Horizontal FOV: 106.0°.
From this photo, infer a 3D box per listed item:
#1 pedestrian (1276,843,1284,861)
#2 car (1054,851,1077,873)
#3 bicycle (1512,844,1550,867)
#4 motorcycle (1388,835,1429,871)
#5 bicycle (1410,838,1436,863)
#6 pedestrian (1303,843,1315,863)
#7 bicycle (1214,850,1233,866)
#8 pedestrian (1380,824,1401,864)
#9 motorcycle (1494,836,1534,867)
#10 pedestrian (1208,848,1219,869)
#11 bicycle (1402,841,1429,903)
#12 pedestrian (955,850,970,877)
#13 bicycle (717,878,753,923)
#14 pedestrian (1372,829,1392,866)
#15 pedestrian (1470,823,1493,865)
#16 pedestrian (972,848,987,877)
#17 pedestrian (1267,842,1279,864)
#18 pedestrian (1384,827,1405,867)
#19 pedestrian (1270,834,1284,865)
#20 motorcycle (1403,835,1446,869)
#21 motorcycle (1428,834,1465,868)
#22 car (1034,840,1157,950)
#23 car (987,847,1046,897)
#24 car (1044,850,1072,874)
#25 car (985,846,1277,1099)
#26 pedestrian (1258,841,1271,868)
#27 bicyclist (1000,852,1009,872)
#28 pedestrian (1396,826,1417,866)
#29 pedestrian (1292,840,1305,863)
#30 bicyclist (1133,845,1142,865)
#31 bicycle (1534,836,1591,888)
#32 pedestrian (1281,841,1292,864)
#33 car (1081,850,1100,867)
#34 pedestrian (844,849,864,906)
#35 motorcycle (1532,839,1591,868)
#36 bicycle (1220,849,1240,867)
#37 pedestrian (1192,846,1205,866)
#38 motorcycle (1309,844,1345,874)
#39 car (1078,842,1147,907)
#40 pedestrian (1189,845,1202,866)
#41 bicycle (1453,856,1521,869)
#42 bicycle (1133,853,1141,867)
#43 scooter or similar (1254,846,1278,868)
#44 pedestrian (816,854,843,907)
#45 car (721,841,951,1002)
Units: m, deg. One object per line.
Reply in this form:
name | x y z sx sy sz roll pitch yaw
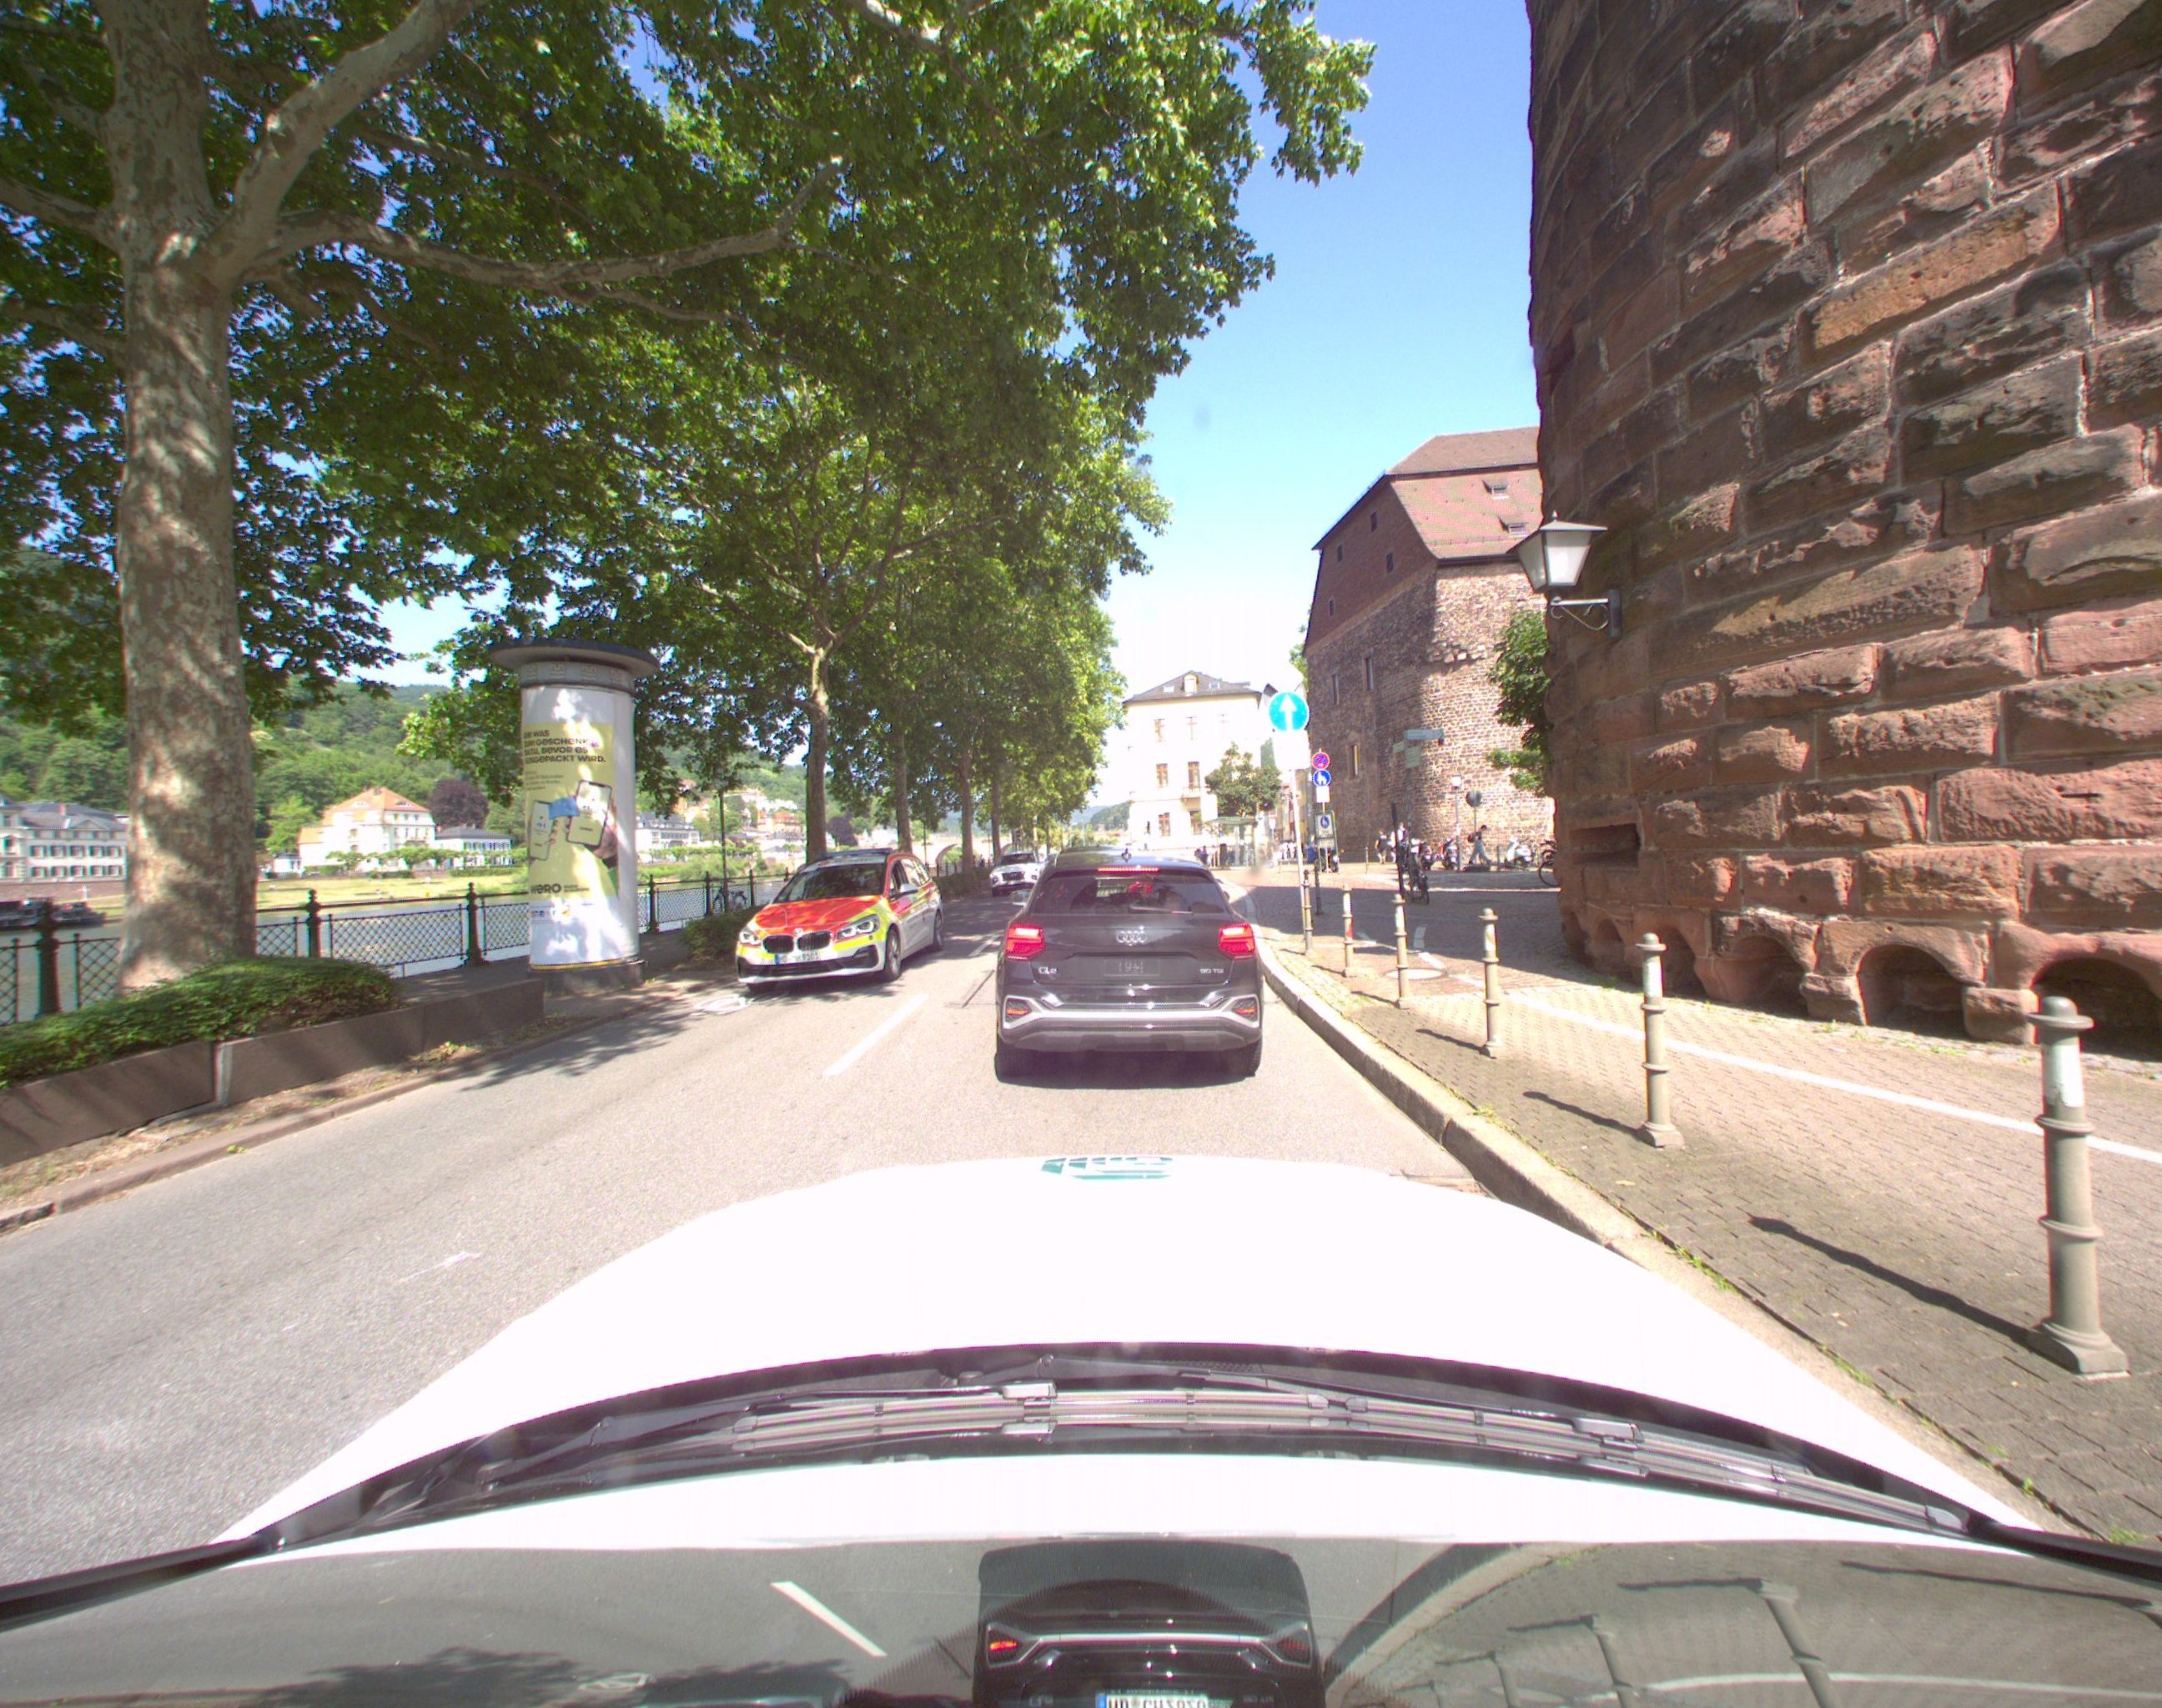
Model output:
pedestrian | 17.319 -0.197 70.967 0.620 1.532 0.467 -1 -1 3
car | -1.428 0.707 76.783 1.806 1.725 4.423 -8 0 2
bicycle | 16.631 0.053 30.135 0.352 0.820 1.926 0 1 1
motorcycle | 11.979 -0.036 29.888 0.653 1.266 2.201 -2 -1 2
bicycle | 16.749 -0.158 39.943 0.388 1.209 1.715 0 -1 -6
pedestrian | 18.658 -0.107 66.704 0.684 1.612 0.896 -4 0 25
bicycle | 8.667 0.239 49.501 1.187 1.016 0.178 0 -1 -17
pedestrian | 15.705 -0.503 41.400 0.727 2.014 0.878 0 -1 1
motorcycle | 15.428 -0.071 29.059 0.505 1.073 1.841 0 -1 2
pedestrian | 9.460 0.315 58.130 0.691 1.500 0.513 0 -1 -3
bicycle | 6.862 0.331 16.741 0.192 1.203 1.775 -2 1 13
pedestrian | -8.063 0.629 55.307 0.906 1.811 0.586 -1 -1 6
bicycle | -8.884 1.178 20.952 0.358 1.091 1.296 1 0 1
pedestrian | 14.975 -0.323 40.575 0.649 1.802 0.847 -1 0 1
pedestrian | 16.516 -0.417 33.584 0.799 1.662 0.660 -3 0 26
pedestrian | -7.224 0.593 58.024 0.906 2.014 0.587 -1 -1 6
pedestrian | 17.398 -0.110 73.775 0.941 2.014 0.808 0 -1 2
pedestrian | 15.142 -0.343 39.360 0.666 1.884 0.821 0 -1 1
pedestrian | 12.037 -0.248 50.072 0.744 1.890 0.753 -1 -1 4
motorcycle | 12.882 -0.052 30.600 0.672 1.235 2.313 0 -1 2
motorcycle | 13.765 -0.107 30.739 0.544 1.235 2.031 0 -1 2
car | 0.270 0.595 13.592 1.786 1.595 3.400 0 0 2
car | -2.435 0.644 31.701 1.762 1.660 4.001 -5 0 1
car | -1.689 0.562 60.646 1.732 1.572 4.093 -6 0 2
car | 0.355 0.699 6.693 1.736 1.509 3.649 0 0 2
pedestrian | 9.578 0.012 42.490 0.555 1.385 0.588 -1 -1 4
bicyclist | -5.280 0.553 56.067 0.565 1.311 0.551 0 -1 -3
pedestrian | 15.904 -0.393 39.835 0.666 1.920 0.821 0 -1 1
pedestrian | 19.352 -0.223 72.541 0.936 2.014 0.808 0 -1 2
bicyclist | 4.320 0.079 62.194 0.604 1.450 0.590 0 -1 -3
bicycle | 11.520 0.177 19.543 0.444 1.162 1.733 -2 0 5
pedestrian | 18.310 -0.120 72.568 0.836 2.014 0.738 0 -1 2
car | 1.085 0.518 90.460 1.985 1.806 4.003 -1 -1 3
pedestrian | -7.521 0.777 26.969 0.532 1.887 0.437 0 0 1
motorcycle | 18.203 -0.023 30.867 1.854 1.054 0.481 -1 -1 9
bicycle | 8.938 0.250 48.881 1.205 1.035 0.178 0 -1 -17
pedestrian | 6.922 0.121 48.003 0.662 1.211 0.640 0 -1 -5
motorcycle | 9.061 0.170 30.103 0.564 1.012 2.490 -2 0 1
car | 0.848 0.522 22.442 1.704 1.609 3.656 -1 0 2
pedestrian | 6.858 0.104 48.895 0.662 1.231 0.640 0 -1 -5
bicycle | 13.623 0.286 27.360 1.914 0.381 0.921 -2 -1 16
bicycle | 4.297 0.465 62.250 0.436 1.086 1.675 0 -1 -2
scooter or similar | 8.948 0.138 39.373 1.085 1.066 0.323 0 -1 -1
pedestrian | -8.257 0.862 26.747 0.599 1.685 0.583 -3 0 0
car | -3.093 0.749 11.271 1.667 1.660 4.224 -5 0 1
